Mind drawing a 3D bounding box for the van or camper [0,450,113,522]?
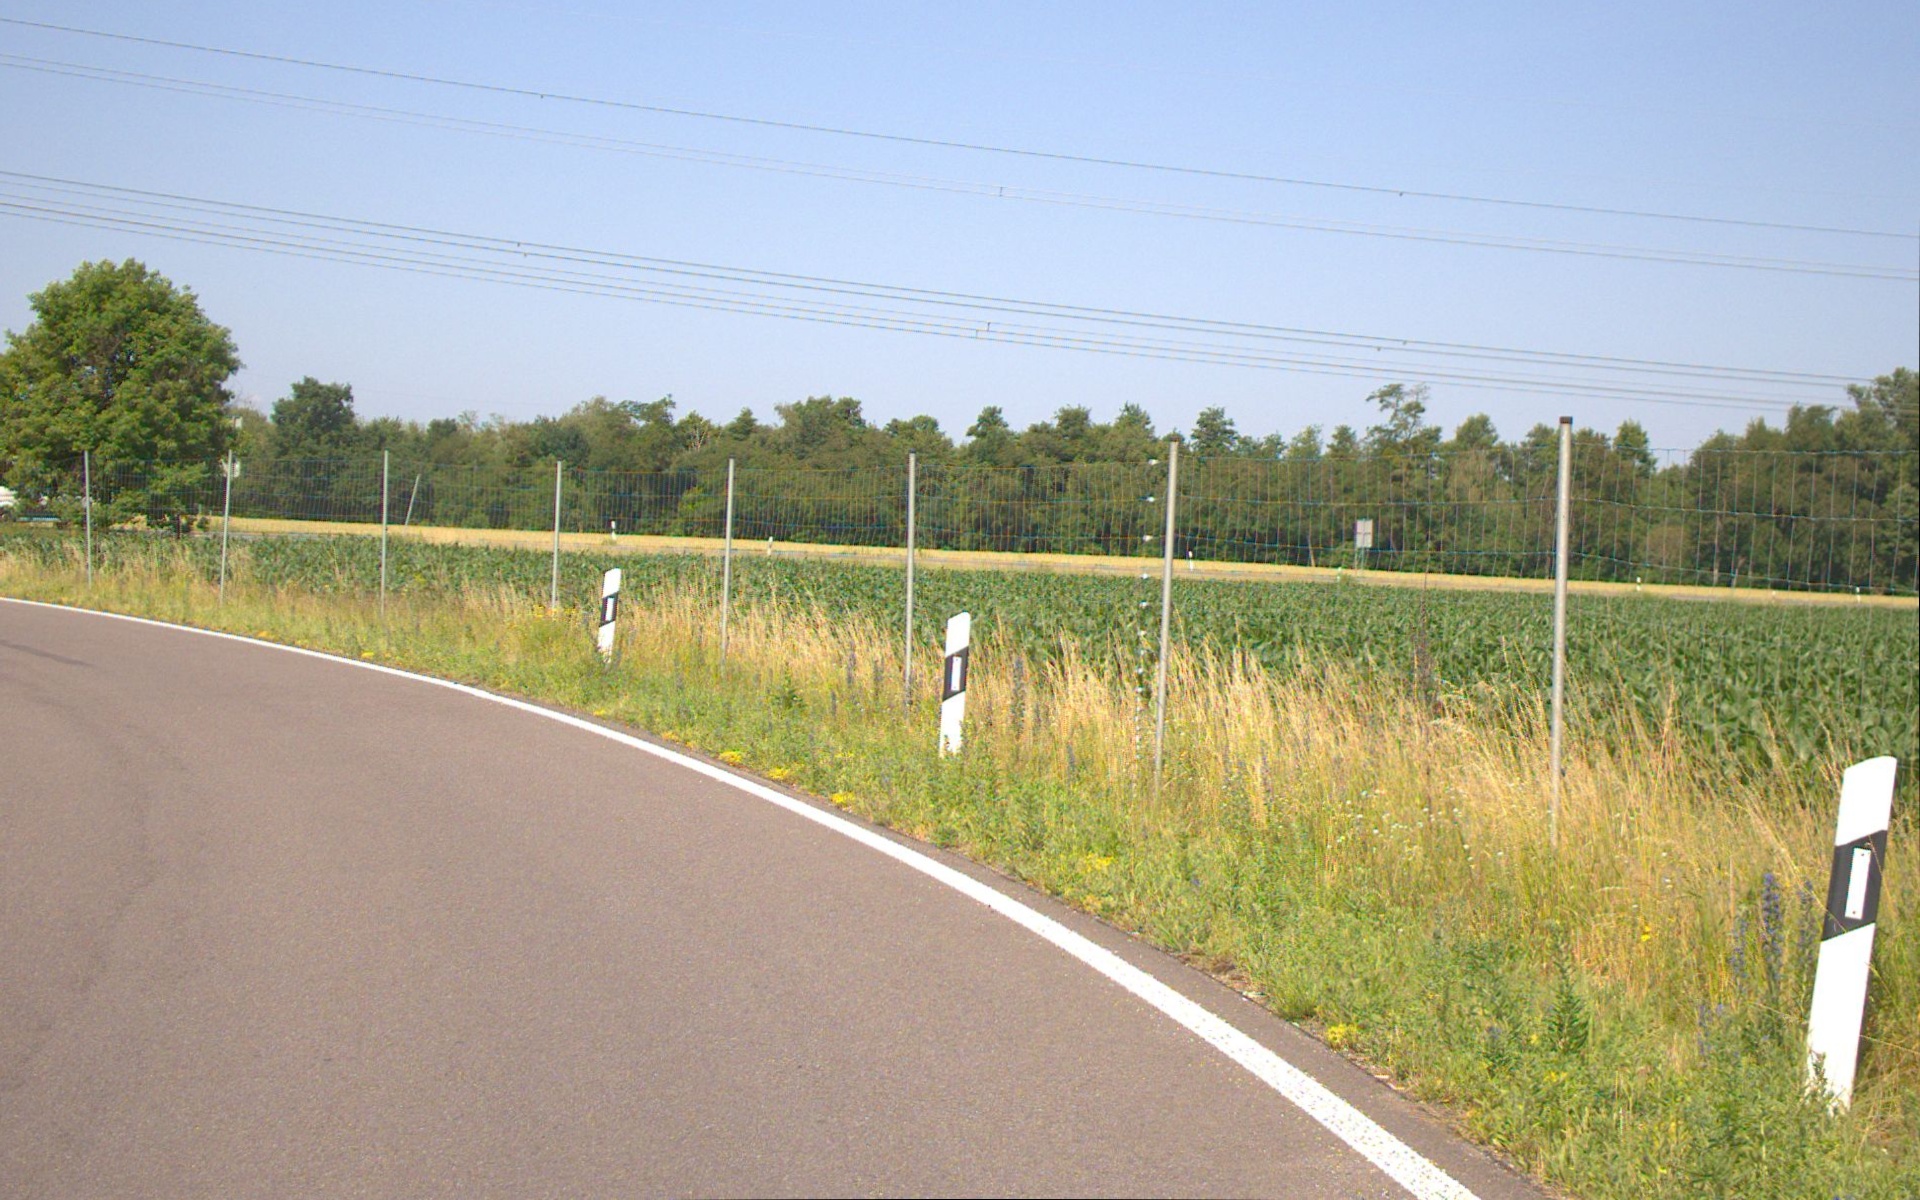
[{"bbox_3d":[-31.853,-3.898,116.724,1.999,2.259,5.754,3,1,43],"label":"van or camper"}]
